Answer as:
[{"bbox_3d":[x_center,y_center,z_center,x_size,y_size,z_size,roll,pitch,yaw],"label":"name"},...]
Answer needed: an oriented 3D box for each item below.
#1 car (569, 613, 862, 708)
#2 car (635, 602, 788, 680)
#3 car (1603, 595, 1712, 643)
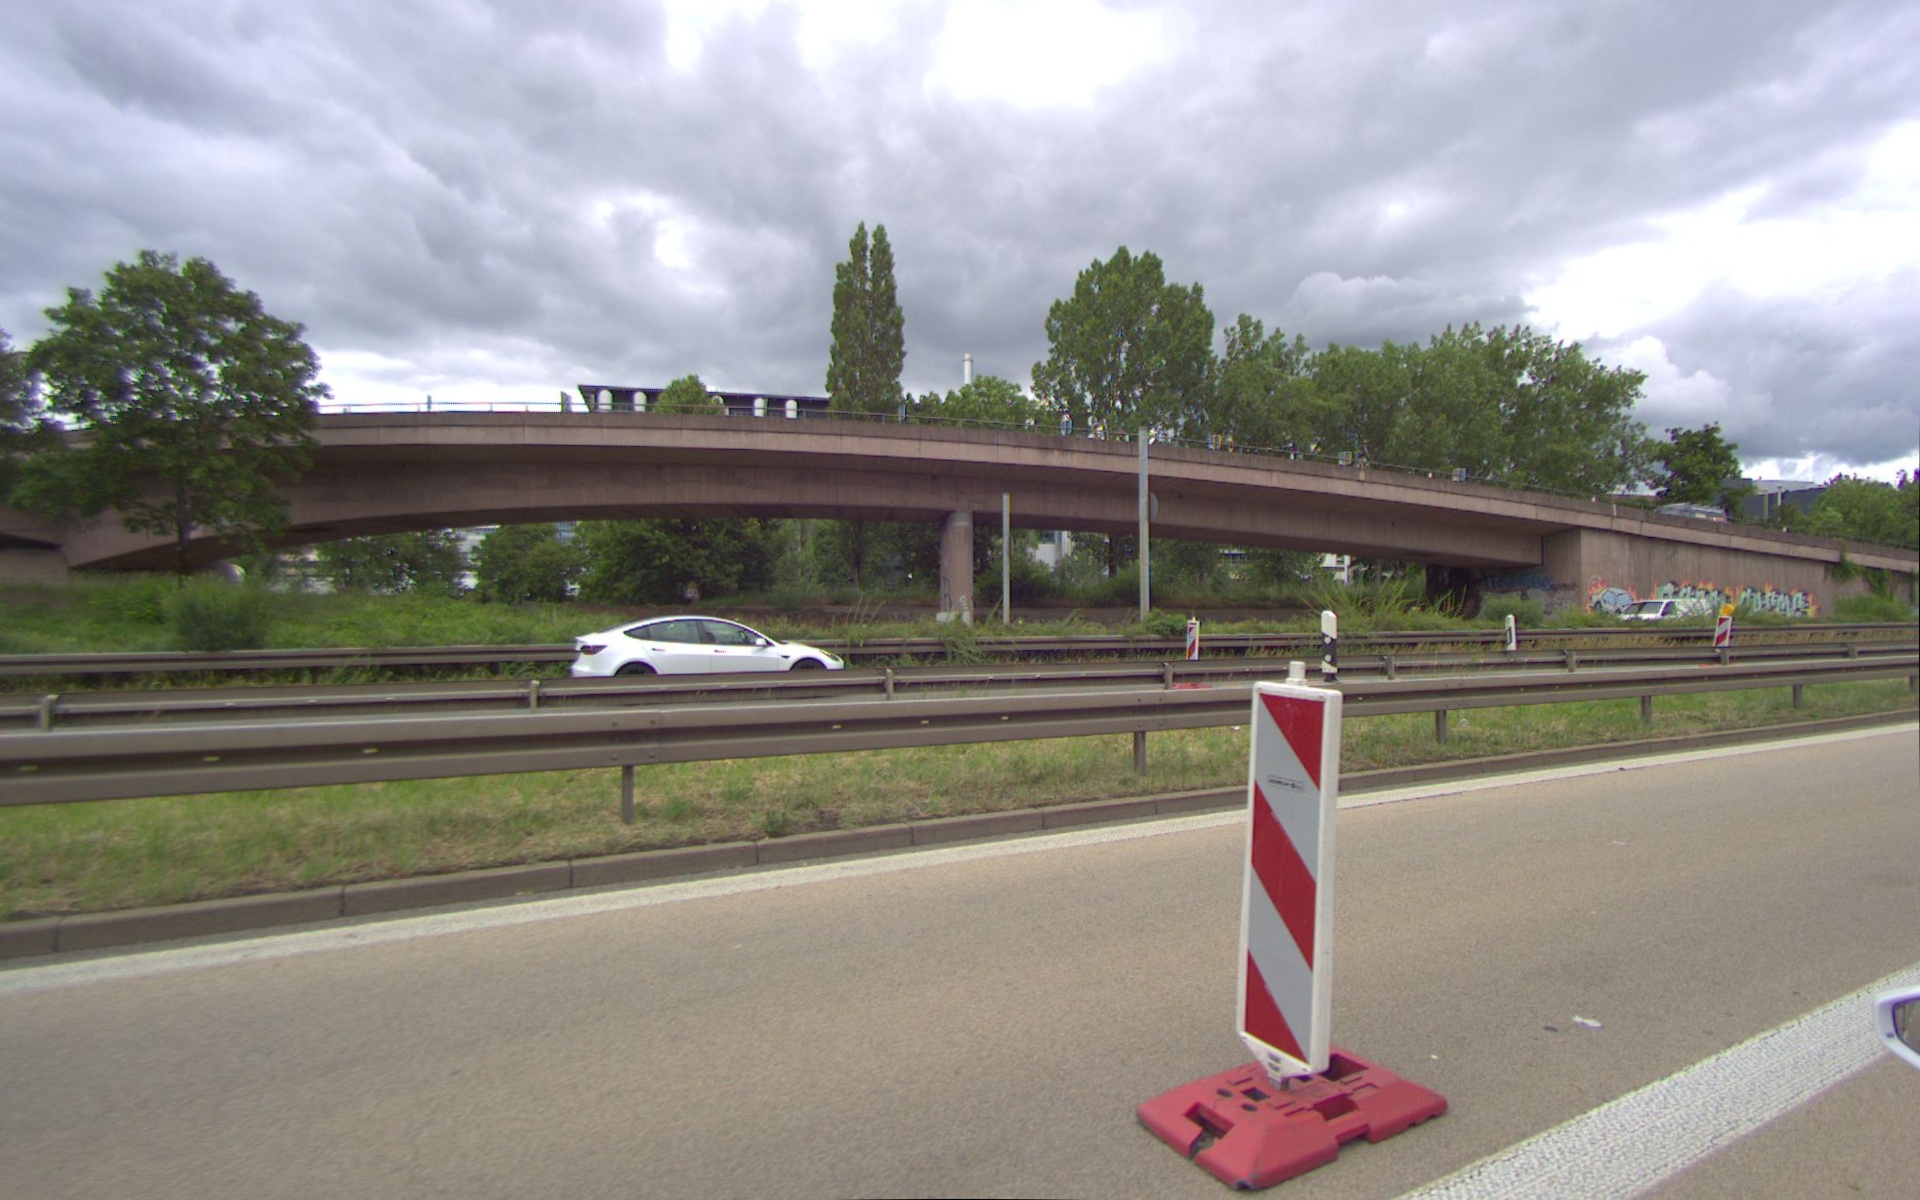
[{"bbox_3d":[-4.267,0.983,17.510,4.731,1.475,1.990,1,-1,-22],"label":"car"},{"bbox_3d":[-6.892,1.098,27.760,3.938,2.040,1.992,1,0,-19],"label":"car"},{"bbox_3d":[30.965,0.834,44.601,4.646,2.040,1.987,1,-1,-26],"label":"car"}]
